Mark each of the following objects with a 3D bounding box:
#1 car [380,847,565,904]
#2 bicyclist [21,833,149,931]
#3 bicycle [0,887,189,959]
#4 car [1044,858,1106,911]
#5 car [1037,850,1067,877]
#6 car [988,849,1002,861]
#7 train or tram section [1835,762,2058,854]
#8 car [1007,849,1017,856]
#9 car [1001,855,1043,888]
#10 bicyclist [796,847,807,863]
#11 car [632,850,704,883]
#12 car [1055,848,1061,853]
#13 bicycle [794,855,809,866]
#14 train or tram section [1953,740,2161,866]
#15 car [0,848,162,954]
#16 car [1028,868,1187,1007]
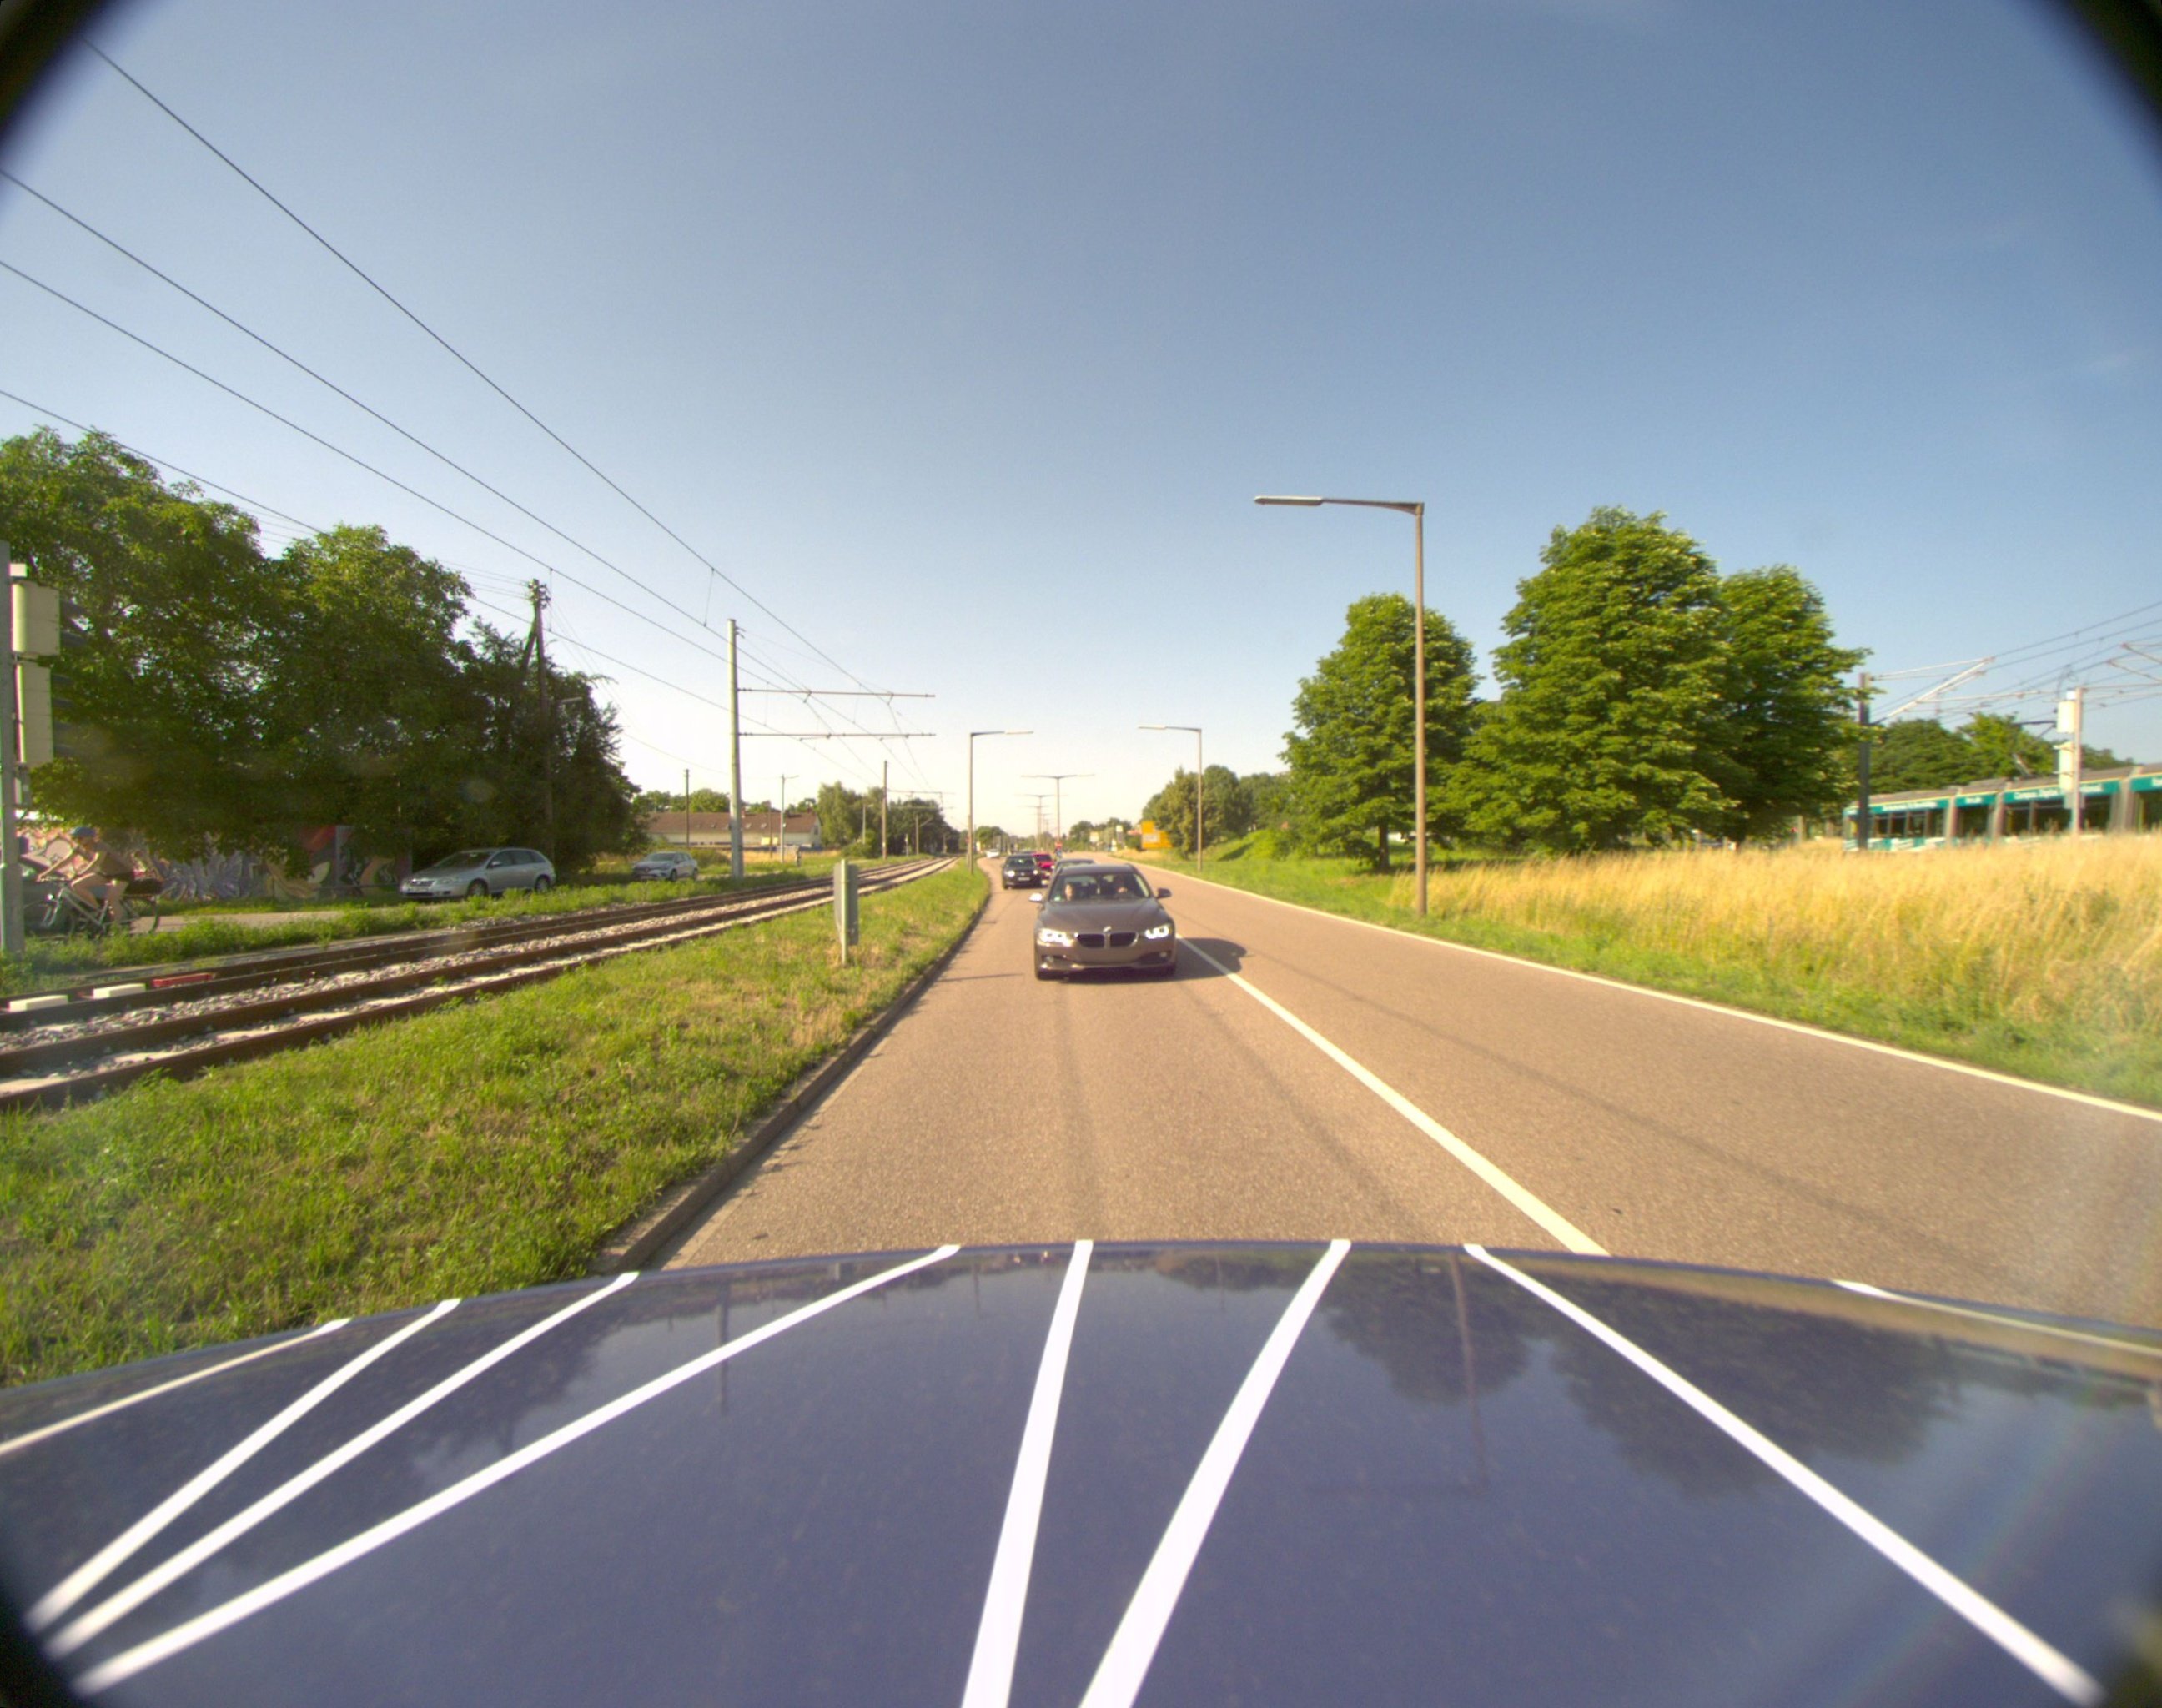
[{"bbox_3d":[-18.380,0.588,23.312,1.912,1.581,4.726,0,0,-1],"label":"car"},{"bbox_3d":[-15.164,0.402,11.599,0.631,1.414,0.962,-1,1,-2],"label":"bicyclist"},{"bbox_3d":[-15.151,1.025,11.705,0.644,0.904,1.843,-1,1,-2],"label":"bicycle"},{"bbox_3d":[-0.116,0.871,23.959,1.710,1.444,4.590,-2,0,1],"label":"car"},{"bbox_3d":[-1.810,0.559,46.310,1.608,1.504,4.266,-2,0,-4],"label":"car"},{"bbox_3d":[-12.788,0.109,113.195,1.969,1.609,4.305,-1,1,-6],"label":"car"},{"bbox_3d":[39.386,-1.925,35.356,2.952,3.464,12.186,-1,1,29],"label":"train or tram section"},{"bbox_3d":[-15.517,-0.392,170.705,1.838,1.504,4.150,-2,0,-8],"label":"car"},{"bbox_3d":[-2.796,0.794,36.212,1.848,1.347,4.152,-2,0,-4],"label":"car"},{"bbox_3d":[-22.797,0.068,62.021,0.641,1.226,0.791,-2,1,-5],"label":"bicyclist"},{"bbox_3d":[-19.192,0.556,35.518,1.539,1.440,4.128,0,0,-7],"label":"car"},{"bbox_3d":[-7.255,-1.163,237.880,1.564,1.369,3.382,-3,2,-10],"label":"car"},{"bbox_3d":[-22.785,0.518,62.021,0.644,0.904,1.812,-2,1,-5],"label":"bicycle"},{"bbox_3d":[33.434,-1.616,24.637,2.919,3.434,12.185,-1,2,30],"label":"train or tram section"},{"bbox_3d":[-17.017,0.711,11.299,1.527,1.601,4.481,0,0,-5],"label":"car"},{"bbox_3d":[0.241,0.978,10.552,1.747,1.444,3.946,-2,0,-2],"label":"car"}]
